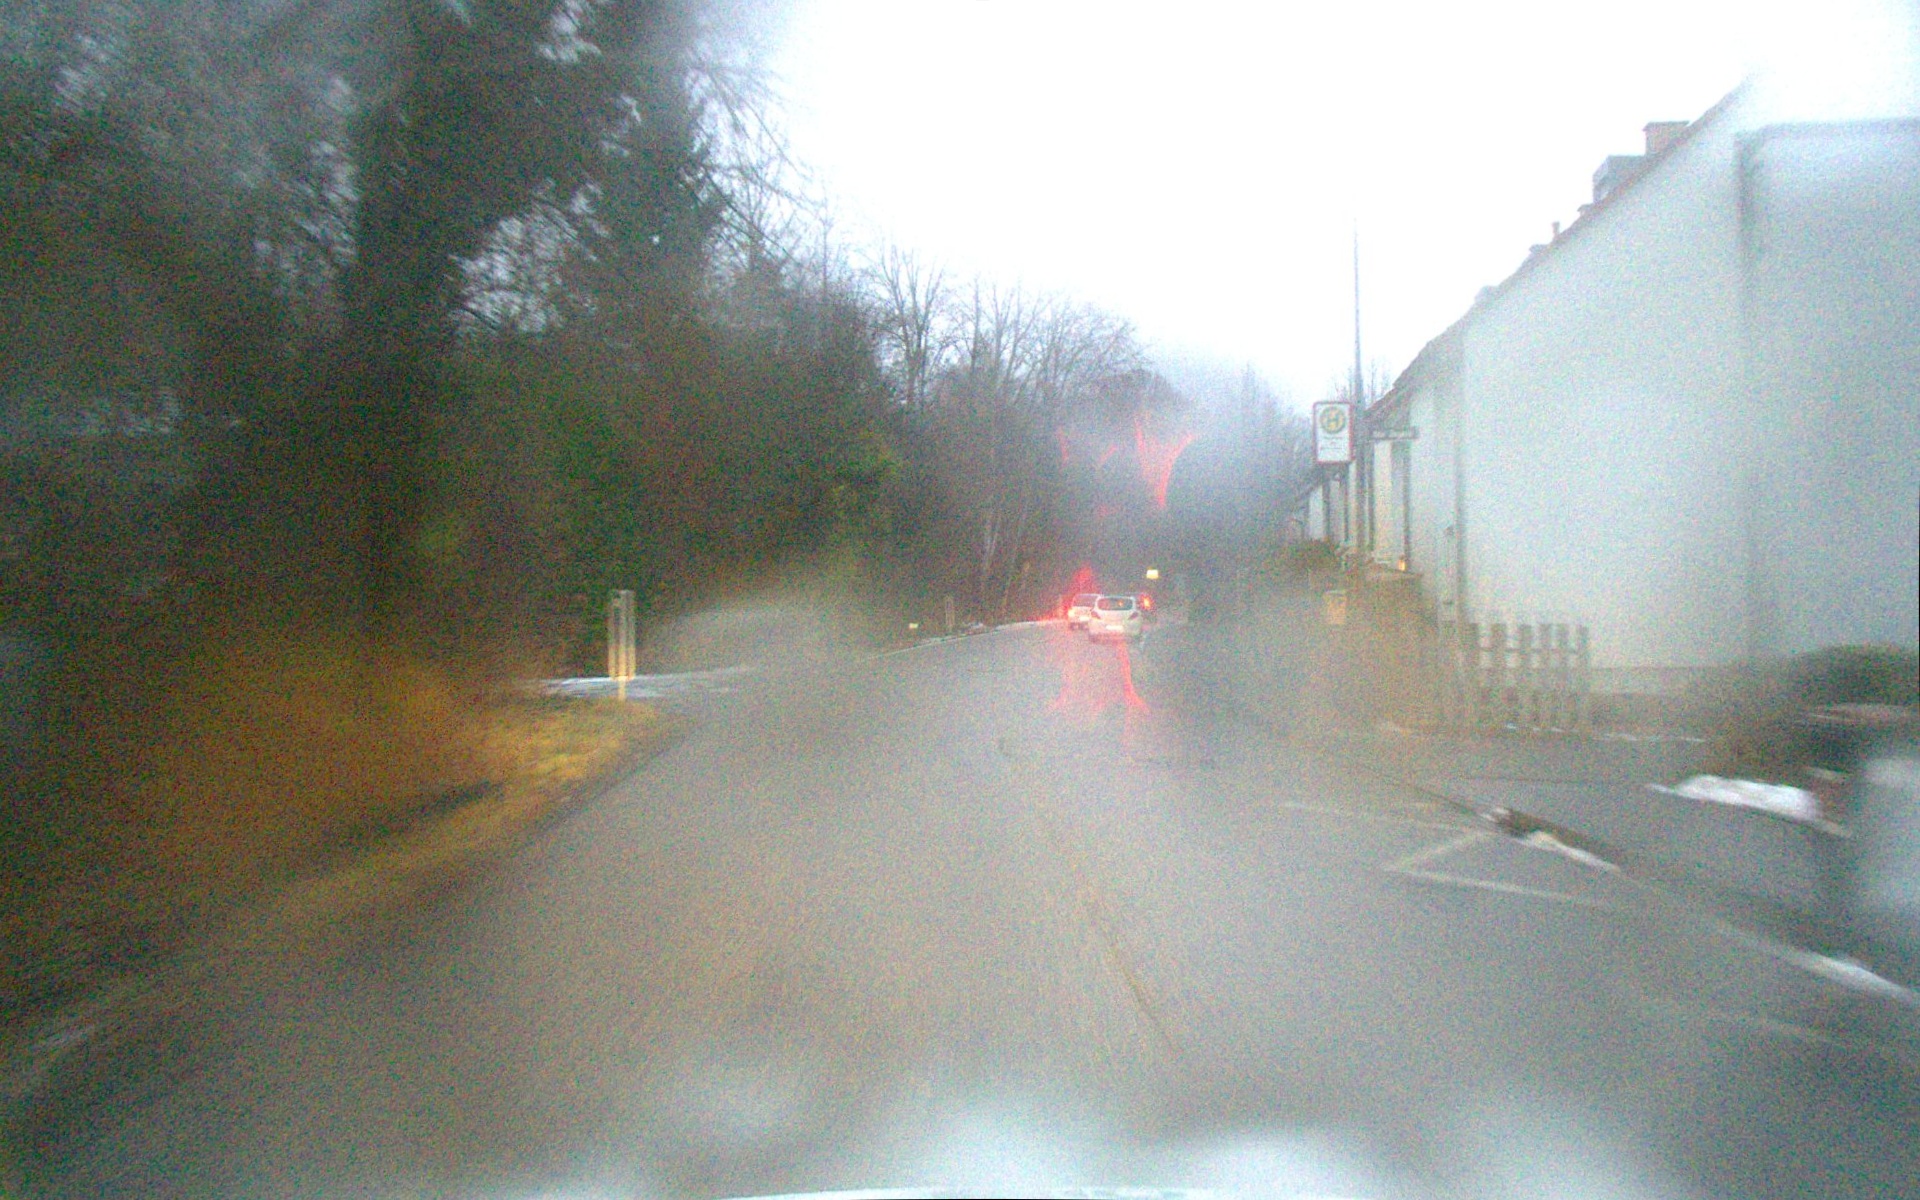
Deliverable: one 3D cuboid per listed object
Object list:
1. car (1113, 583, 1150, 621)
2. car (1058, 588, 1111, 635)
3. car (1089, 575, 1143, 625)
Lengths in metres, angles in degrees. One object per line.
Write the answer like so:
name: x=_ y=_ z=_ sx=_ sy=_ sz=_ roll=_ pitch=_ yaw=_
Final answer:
car: x=8.475 y=0.091 z=81.492 sx=1.653 sy=1.805 sz=3.864 roll=-1 pitch=1 yaw=8
car: x=5.120 y=0.432 z=67.575 sx=1.891 sy=1.812 sz=4.004 roll=-1 pitch=1 yaw=8
car: x=5.055 y=0.008 z=53.319 sx=1.667 sy=1.532 sz=4.027 roll=1 pitch=0 yaw=6
